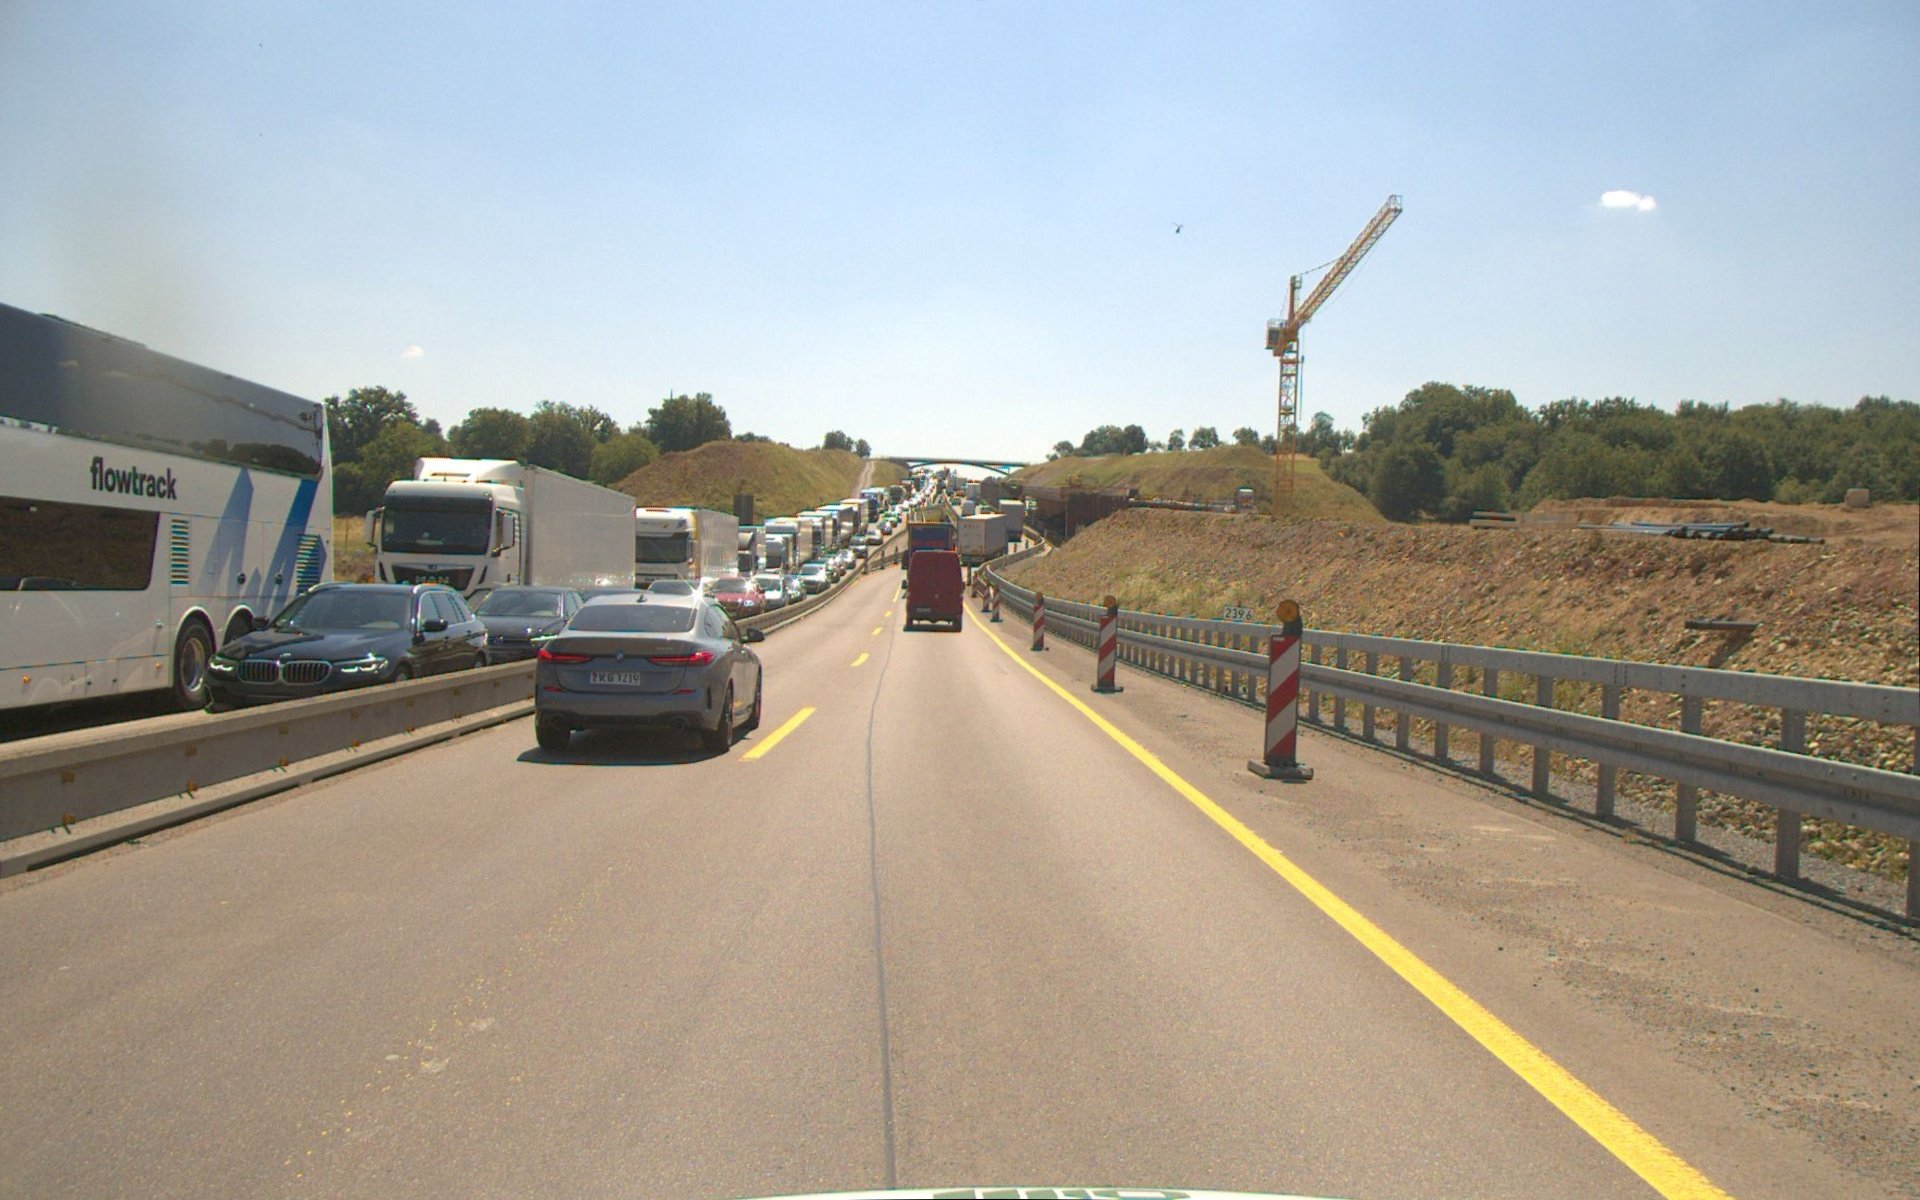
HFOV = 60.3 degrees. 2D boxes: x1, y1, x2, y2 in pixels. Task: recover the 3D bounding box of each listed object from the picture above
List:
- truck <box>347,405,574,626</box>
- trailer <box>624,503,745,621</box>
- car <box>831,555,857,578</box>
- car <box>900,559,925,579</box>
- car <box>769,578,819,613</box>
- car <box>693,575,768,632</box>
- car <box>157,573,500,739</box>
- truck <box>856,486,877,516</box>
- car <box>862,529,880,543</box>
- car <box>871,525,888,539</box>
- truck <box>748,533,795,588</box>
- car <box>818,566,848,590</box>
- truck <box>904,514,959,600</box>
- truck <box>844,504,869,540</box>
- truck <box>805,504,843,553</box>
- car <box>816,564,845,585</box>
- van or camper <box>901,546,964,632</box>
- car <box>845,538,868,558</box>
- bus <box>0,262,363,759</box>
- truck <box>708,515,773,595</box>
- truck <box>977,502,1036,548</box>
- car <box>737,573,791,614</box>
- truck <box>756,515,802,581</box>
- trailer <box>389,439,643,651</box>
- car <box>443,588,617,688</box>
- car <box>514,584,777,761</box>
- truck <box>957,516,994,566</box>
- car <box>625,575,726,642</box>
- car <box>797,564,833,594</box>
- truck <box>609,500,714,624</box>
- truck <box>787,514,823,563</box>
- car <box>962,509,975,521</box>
[{"bbox_3d":[-10.560,-1.741,35.764,3.035,4.270,6.700,1,2,-2],"label":"truck"},{"bbox_3d":[-11.002,-1.554,67.592,2.925,4.281,13.943,1,1,-2],"label":"trailer"},{"bbox_3d":[-9.293,-2.648,133.090,1.954,1.814,3.998,0,1,-3],"label":"car"},{"bbox_3d":[-3.899,-2.541,134.403,1.972,1.571,4.131,1,2,-3],"label":"car"},{"bbox_3d":[-7.780,-0.235,77.850,1.953,1.584,4.338,1,1,-1],"label":"car"},{"bbox_3d":[-7.585,0.074,55.101,1.954,1.659,4.757,2,2,-2],"label":"car"},{"bbox_3d":[-6.620,0.481,18.044,1.879,1.447,5.090,2,1,-2],"label":"car"},{"bbox_3d":[-13.211,-13.917,233.157,2.830,3.905,7.998,1,2,-3],"label":"truck"},{"bbox_3d":[-9.333,-6.731,174.123,1.711,1.433,4.000,1,2,-1],"label":"car"},{"bbox_3d":[-9.604,-8.041,196.586,1.913,1.556,4.267,1,2,-1],"label":"car"},{"bbox_3d":[-11.465,-2.471,101.117,2.385,3.202,7.022,0,2,-3],"label":"truck"},{"bbox_3d":[-8.555,-1.479,111.556,1.790,1.562,4.545,0,1,-2],"label":"car"},{"bbox_3d":[-1.729,-2.548,96.207,2.960,4.774,6.930,-1,2,-3],"label":"truck"},{"bbox_3d":[-11.366,-8.561,182.146,2.630,3.905,7.383,1,2,-3],"label":"truck"},{"bbox_3d":[-12.796,-6.721,156.253,2.989,4.558,5.981,1,2,0],"label":"truck"},{"bbox_3d":[-9.545,-1.893,121.903,1.864,1.400,4.546,-2,2,-1],"label":"car"},{"bbox_3d":[-0.999,-0.442,57.330,1.989,2.791,4.514,1,2,-3],"label":"van or camper"},{"bbox_3d":[-9.444,-4.744,151.225,1.953,1.814,3.999,1,2,-3],"label":"car"},{"bbox_3d":[-9.786,-0.814,16.634,2.684,4.338,14.472,1,1,-2],"label":"bus"},{"bbox_3d":[-11.305,-2.338,85.816,2.474,3.922,8.669,1,2,-2],"label":"truck"},{"bbox_3d":[5.588,-8.702,193.977,5.050,5.083,13.890,-1,2,9],"label":"truck"},{"bbox_3d":[-7.852,-0.273,66.500,1.790,1.601,3.999,1,1,-2],"label":"car"},{"bbox_3d":[-12.181,-3.551,111.898,2.499,4.304,6.530,1,2,-1],"label":"truck"},{"bbox_3d":[-10.793,-1.318,42.230,3.077,4.459,14.074,1,1,-2],"label":"trailer"},{"bbox_3d":[-6.941,0.556,27.158,1.796,1.448,4.681,0,1,-2],"label":"car"},{"bbox_3d":[-2.966,0.601,16.580,1.814,1.477,4.741,0,1,-1],"label":"car"},{"bbox_3d":[1.299,-5.104,143.952,2.977,4.172,7.083,0,0,-2],"label":"truck"},{"bbox_3d":[-7.328,0.182,43.001,1.953,1.649,4.880,0,0,-2],"label":"car"},{"bbox_3d":[-8.368,-1.211,95.840,1.790,1.680,4.545,0,1,-2],"label":"car"},{"bbox_3d":[-10.783,-1.394,60.292,2.917,4.257,5.872,1,1,-2],"label":"truck"},{"bbox_3d":[-12.870,-5.054,137.683,2.727,3.937,5.458,1,1,-3],"label":"truck"},{"bbox_3d":[1.255,-13.097,254.270,1.913,1.669,4.266,1,1,-1],"label":"car"}]
